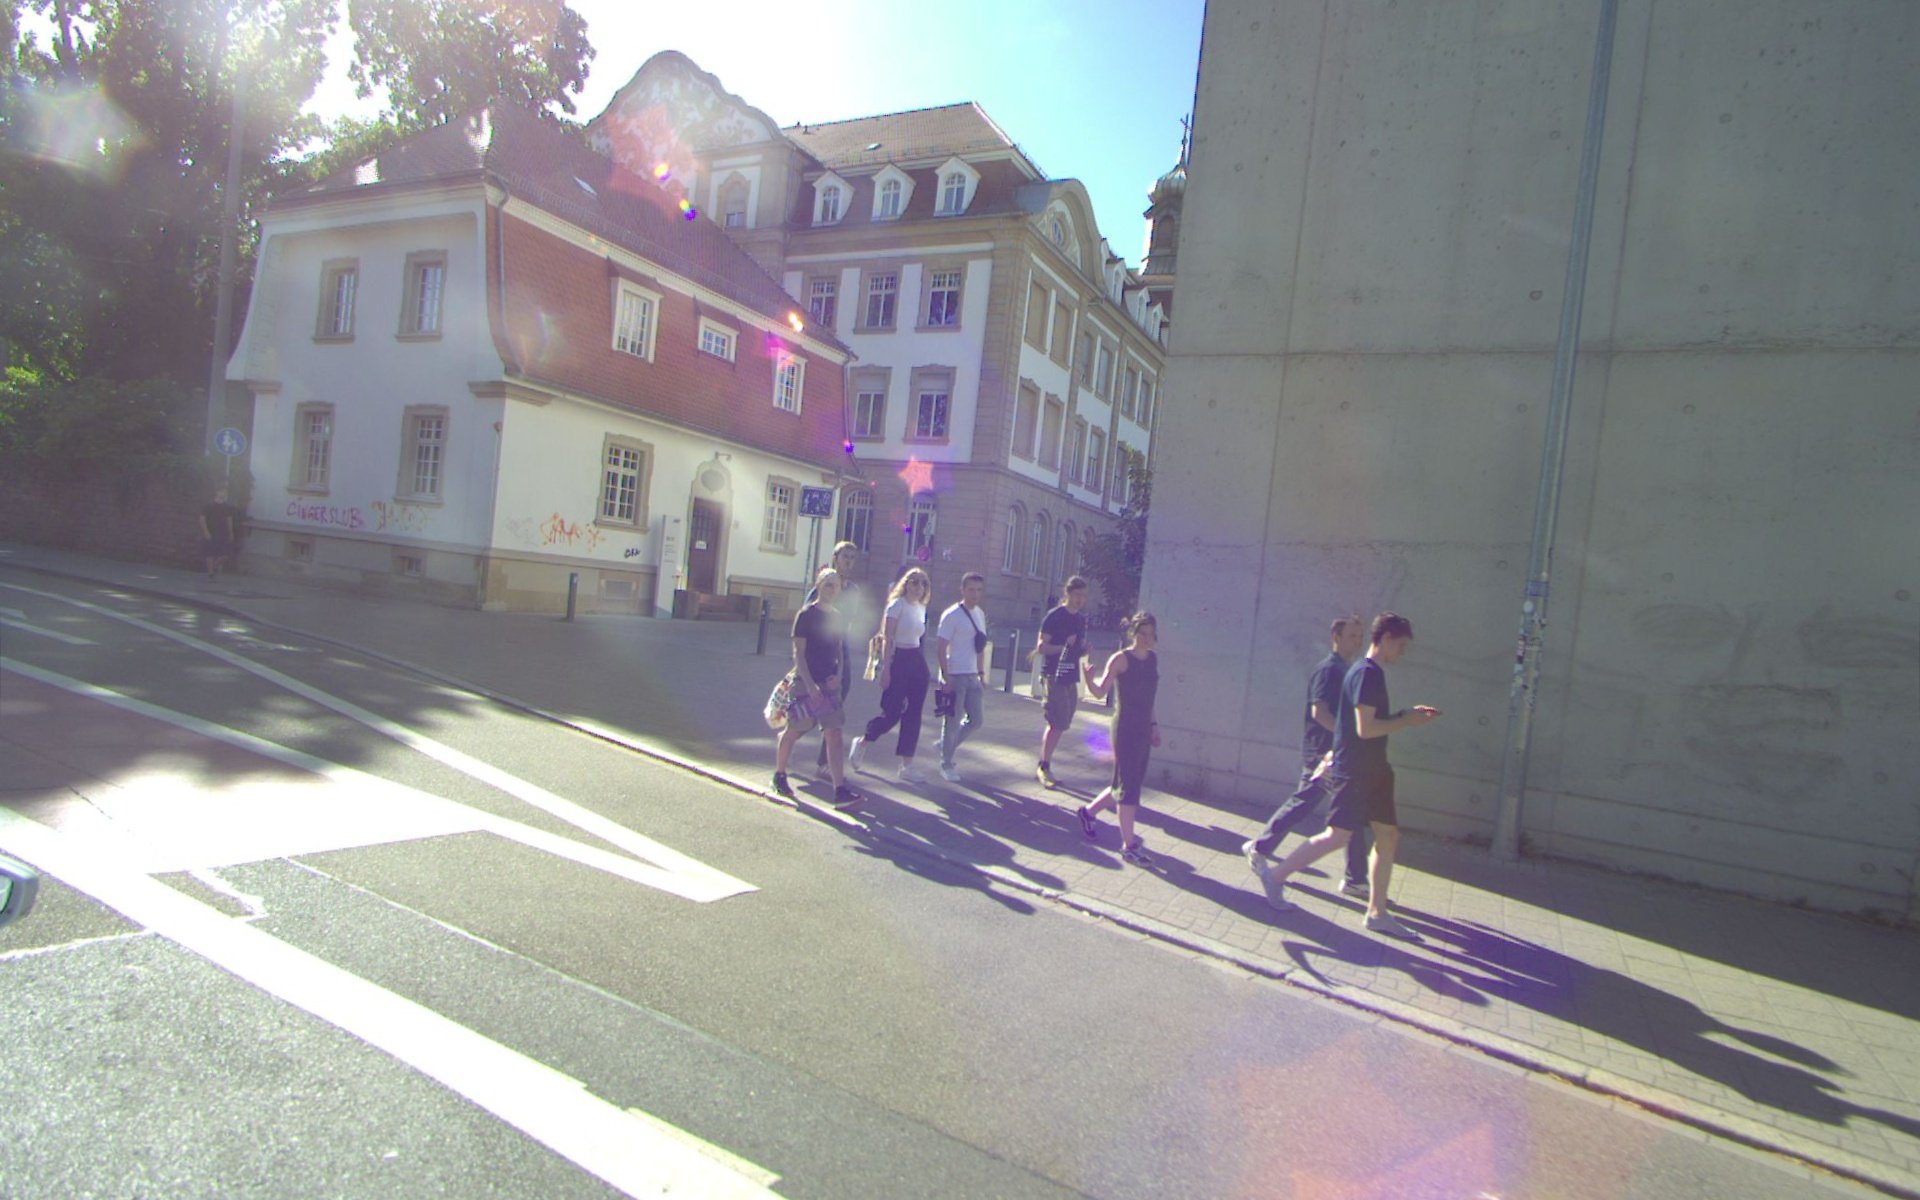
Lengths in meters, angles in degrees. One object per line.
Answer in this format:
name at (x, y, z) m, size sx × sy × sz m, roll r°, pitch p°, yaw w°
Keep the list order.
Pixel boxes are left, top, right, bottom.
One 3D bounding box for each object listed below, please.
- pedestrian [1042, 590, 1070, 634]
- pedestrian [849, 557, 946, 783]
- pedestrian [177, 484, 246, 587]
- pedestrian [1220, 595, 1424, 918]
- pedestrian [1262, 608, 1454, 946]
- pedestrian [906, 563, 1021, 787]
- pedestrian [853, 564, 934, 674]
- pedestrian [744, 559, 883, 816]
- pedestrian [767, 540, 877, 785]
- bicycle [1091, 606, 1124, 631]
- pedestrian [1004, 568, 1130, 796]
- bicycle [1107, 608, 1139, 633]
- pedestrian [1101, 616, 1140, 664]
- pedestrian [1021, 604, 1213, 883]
pedestrian at (3.721, 0.472, 38.900) m, size 0.632 × 1.607 × 0.925 m, roll 7°, pitch 2°, yaw 29°
pedestrian at (-0.541, 0.570, 8.515) m, size 0.522 × 1.800 × 0.731 m, roll 2°, pitch 5°, yaw -21°
pedestrian at (-14.916, -1.287, 20.049) m, size 1.115 × 1.930 × 0.638 m, roll 7°, pitch 4°, yaw 29°
pedestrian at (2.261, 0.906, 6.291) m, size 0.940 × 1.789 × 0.647 m, roll 7°, pitch 6°, yaw 30°
pedestrian at (2.290, 0.963, 5.807) m, size 0.802 × 1.753 × 0.494 m, roll 7°, pitch 6°, yaw 30°
pedestrian at (0.026, 0.615, 8.644) m, size 0.644 × 1.800 × 0.607 m, roll 9°, pitch 7°, yaw 44°
pedestrian at (-1.067, 0.304, 16.295) m, size 0.844 × 1.662 × 0.992 m, roll 5°, pitch 1°, yaw 23°
pedestrian at (-1.096, 0.614, 7.522) m, size 0.706 × 1.772 × 0.605 m, roll 7°, pitch 5°, yaw 35°
pedestrian at (-1.147, 0.495, 8.372) m, size 0.602 × 1.929 × 0.517 m, roll 7°, pitch 5°, yaw 35°
bicycle at (6.991, 0.889, 47.815) m, size 1.363 × 1.030 × 0.470 m, roll 8°, pitch 3°, yaw 30°
pedestrian at (0.925, 0.672, 8.709) m, size 0.720 × 1.828 × 0.656 m, roll 7°, pitch 5°, yaw 35°
bicycle at (8.024, 1.018, 49.525) m, size 1.363 × 1.030 × 0.470 m, roll 8°, pitch 3°, yaw 30°
pedestrian at (4.318, 1.070, 27.054) m, size 0.641 × 1.208 × 0.965 m, roll 7°, pitch 2°, yaw 29°
pedestrian at (1.052, 0.886, 6.716) m, size 0.879 × 1.628 × 0.827 m, roll 7°, pitch 6°, yaw 34°
